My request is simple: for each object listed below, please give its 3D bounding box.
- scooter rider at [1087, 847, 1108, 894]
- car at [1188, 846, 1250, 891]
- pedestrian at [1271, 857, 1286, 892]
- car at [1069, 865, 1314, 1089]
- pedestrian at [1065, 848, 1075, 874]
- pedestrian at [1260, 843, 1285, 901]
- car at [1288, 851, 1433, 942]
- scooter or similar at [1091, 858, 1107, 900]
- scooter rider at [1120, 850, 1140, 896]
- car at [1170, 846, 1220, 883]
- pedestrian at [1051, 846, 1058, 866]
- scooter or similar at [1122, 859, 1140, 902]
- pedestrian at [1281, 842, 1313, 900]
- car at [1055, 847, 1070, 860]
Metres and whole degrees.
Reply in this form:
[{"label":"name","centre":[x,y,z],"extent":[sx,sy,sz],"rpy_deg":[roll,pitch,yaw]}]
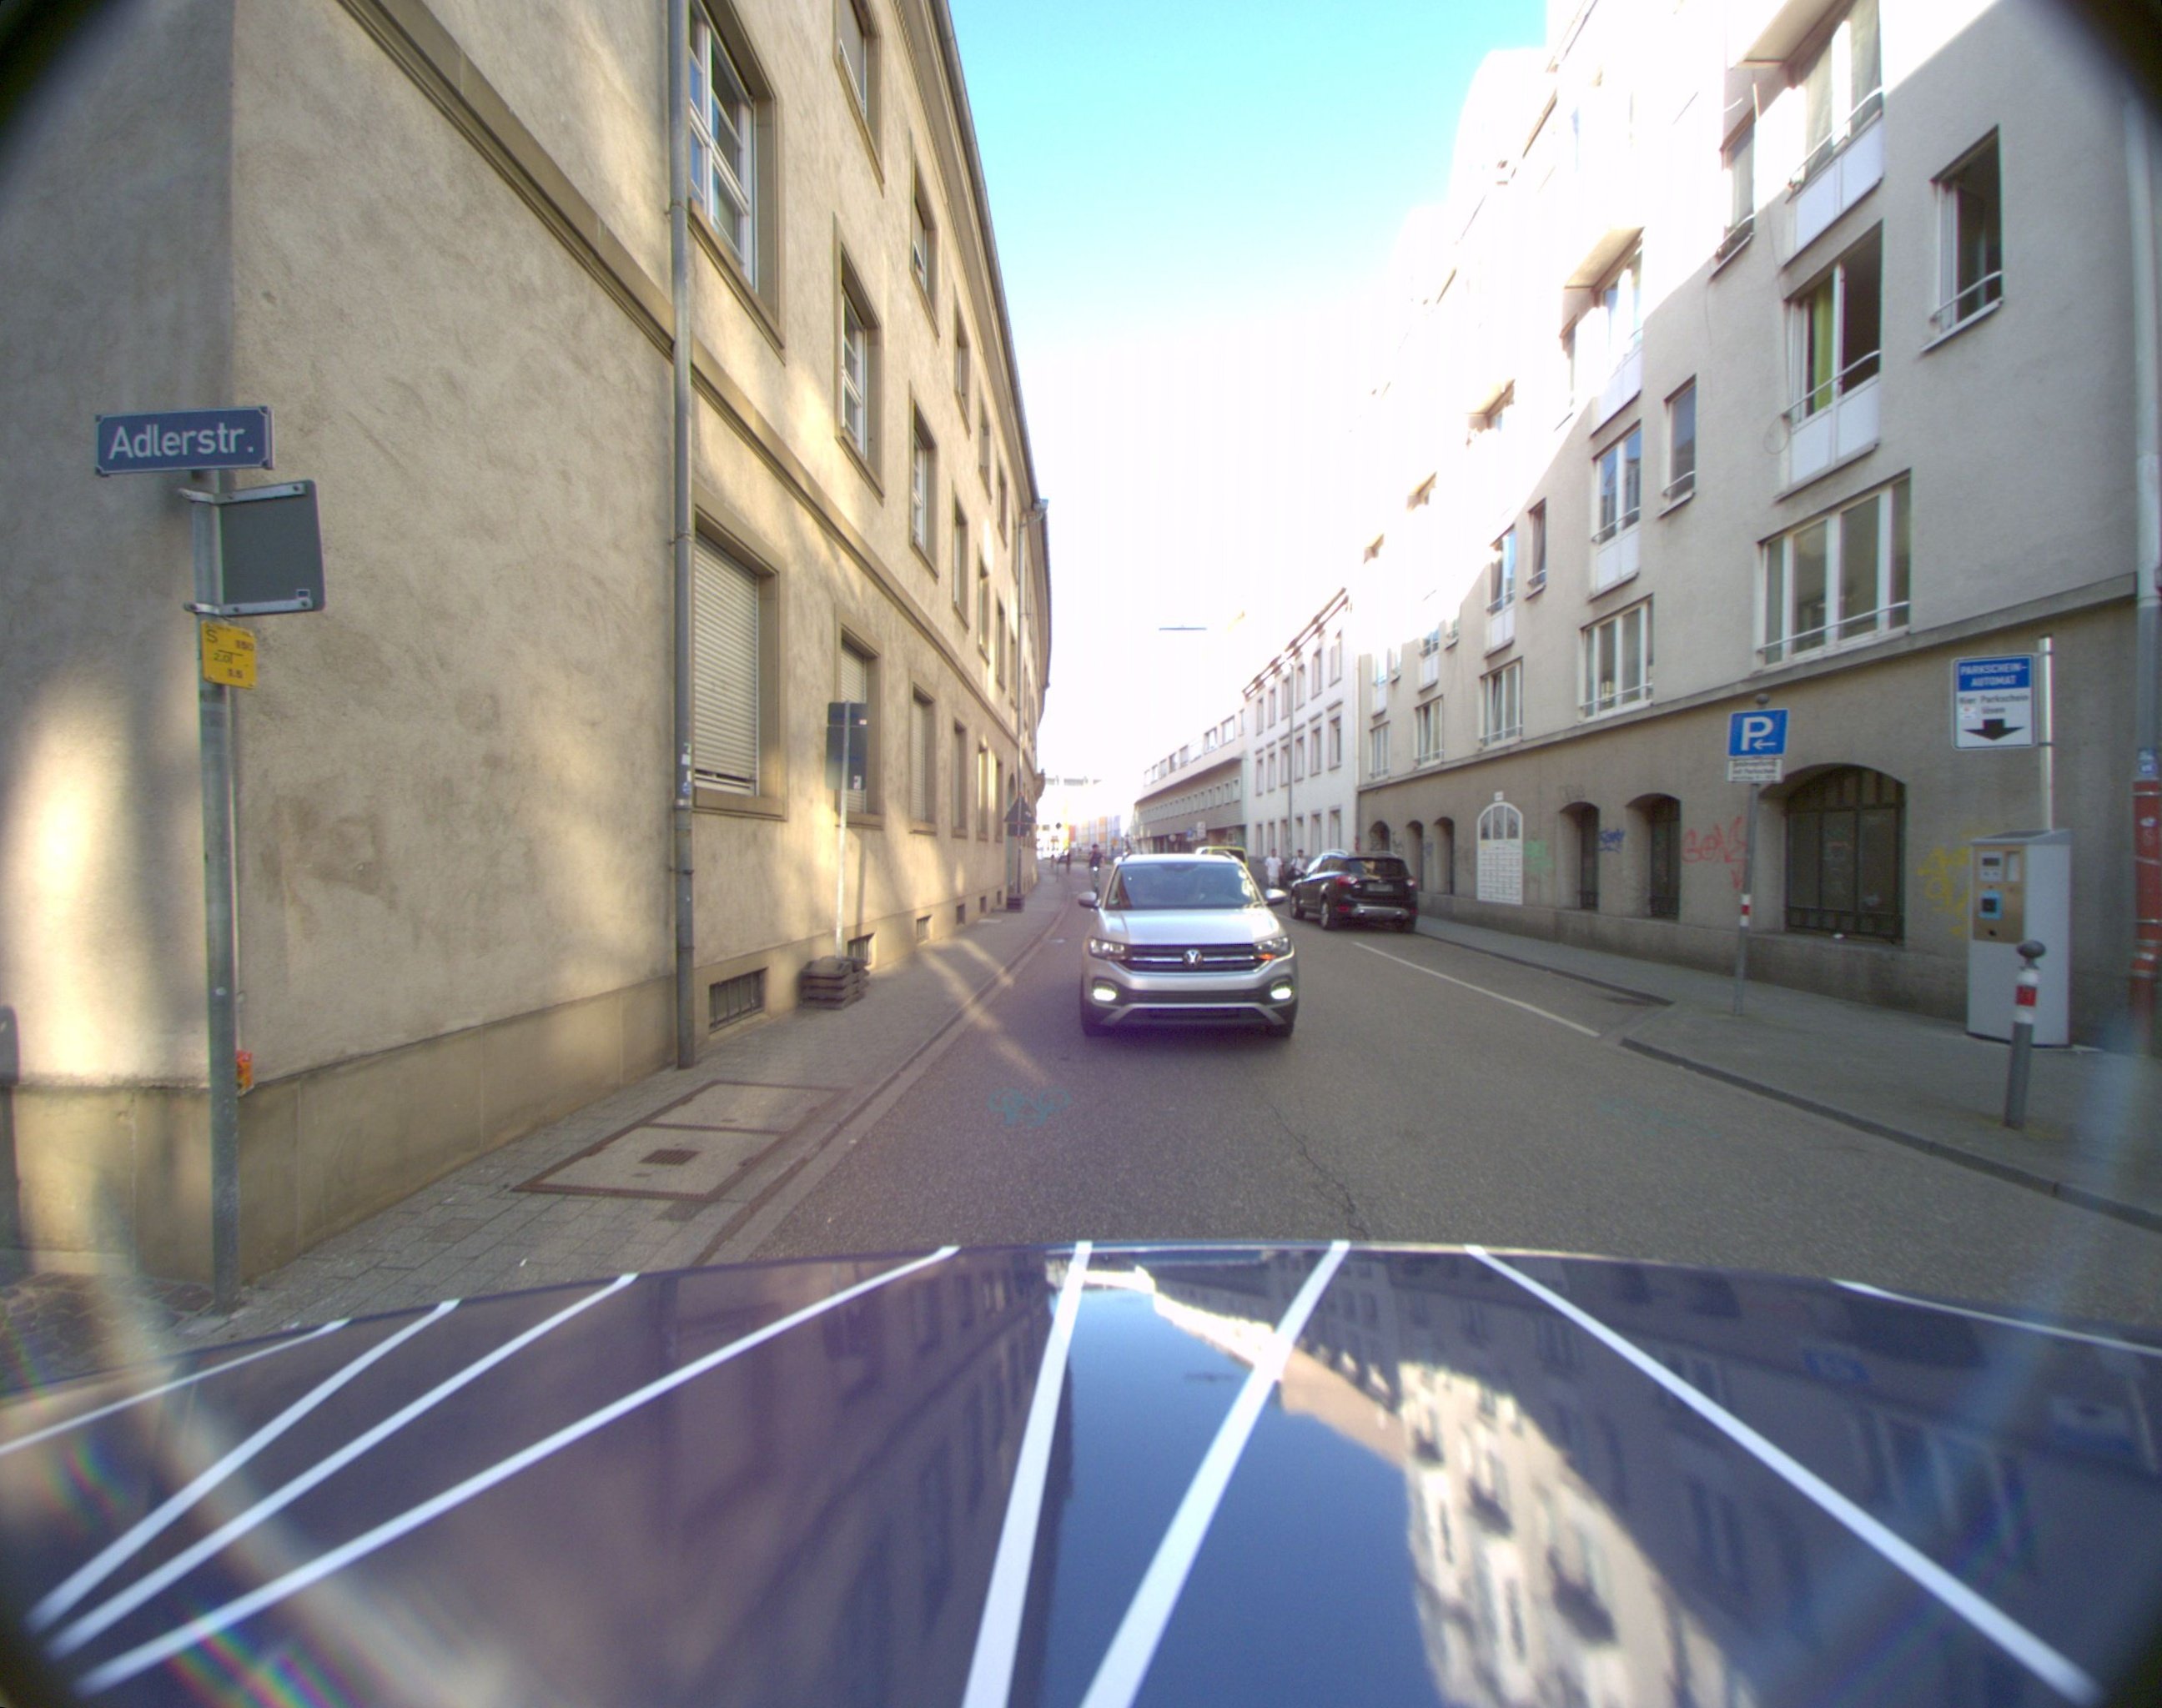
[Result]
[{"label":"scooter rider","centre":[0.562,0.561,26.173],"extent":[0.647,1.584,0.600],"rpy_deg":[-2,1,2]},{"label":"car","centre":[5.979,0.572,33.369],"extent":[1.888,1.863,3.999],"rpy_deg":[0,1,-2]},{"label":"pedestrian","centre":[8.171,0.847,31.486],"extent":[0.556,1.439,0.583],"rpy_deg":[0,1,12]},{"label":"car","centre":[0.833,0.915,7.482],"extent":[1.762,1.537,4.000],"rpy_deg":[0,0,1]},{"label":"pedestrian","centre":[-0.833,0.541,58.094],"extent":[0.715,2.002,0.699],"rpy_deg":[0,1,1]},{"label":"pedestrian","centre":[6.625,0.618,26.317],"extent":[0.715,2.002,0.699],"rpy_deg":[0,1,1]},{"label":"car","centre":[6.016,0.829,16.916],"extent":[1.887,1.694,4.001],"rpy_deg":[2,1,3]},{"label":"scooter or similar","centre":[0.607,0.833,26.093],"extent":[0.523,1.388,1.555],"rpy_deg":[0,1,2]},{"label":"scooter rider","centre":[1.646,0.617,25.478],"extent":[0.591,1.499,0.600],"rpy_deg":[-2,1,2]},{"label":"car","centre":[5.925,0.499,39.956],"extent":[1.888,1.758,3.999],"rpy_deg":[2,1,-2]},{"label":"pedestrian","centre":[-2.610,0.193,74.642],"extent":[0.715,2.002,0.699],"rpy_deg":[0,1,1]},{"label":"scooter or similar","centre":[1.655,0.862,25.337],"extent":[0.550,1.388,1.555],"rpy_deg":[0,1,2]},{"label":"pedestrian","centre":[7.535,0.573,26.518],"extent":[0.937,2.002,0.699],"rpy_deg":[0,1,1]},{"label":"car","centre":[-2.622,-0.106,109.254],"extent":[1.889,1.863,3.998],"rpy_deg":[2,1,-4]}]
